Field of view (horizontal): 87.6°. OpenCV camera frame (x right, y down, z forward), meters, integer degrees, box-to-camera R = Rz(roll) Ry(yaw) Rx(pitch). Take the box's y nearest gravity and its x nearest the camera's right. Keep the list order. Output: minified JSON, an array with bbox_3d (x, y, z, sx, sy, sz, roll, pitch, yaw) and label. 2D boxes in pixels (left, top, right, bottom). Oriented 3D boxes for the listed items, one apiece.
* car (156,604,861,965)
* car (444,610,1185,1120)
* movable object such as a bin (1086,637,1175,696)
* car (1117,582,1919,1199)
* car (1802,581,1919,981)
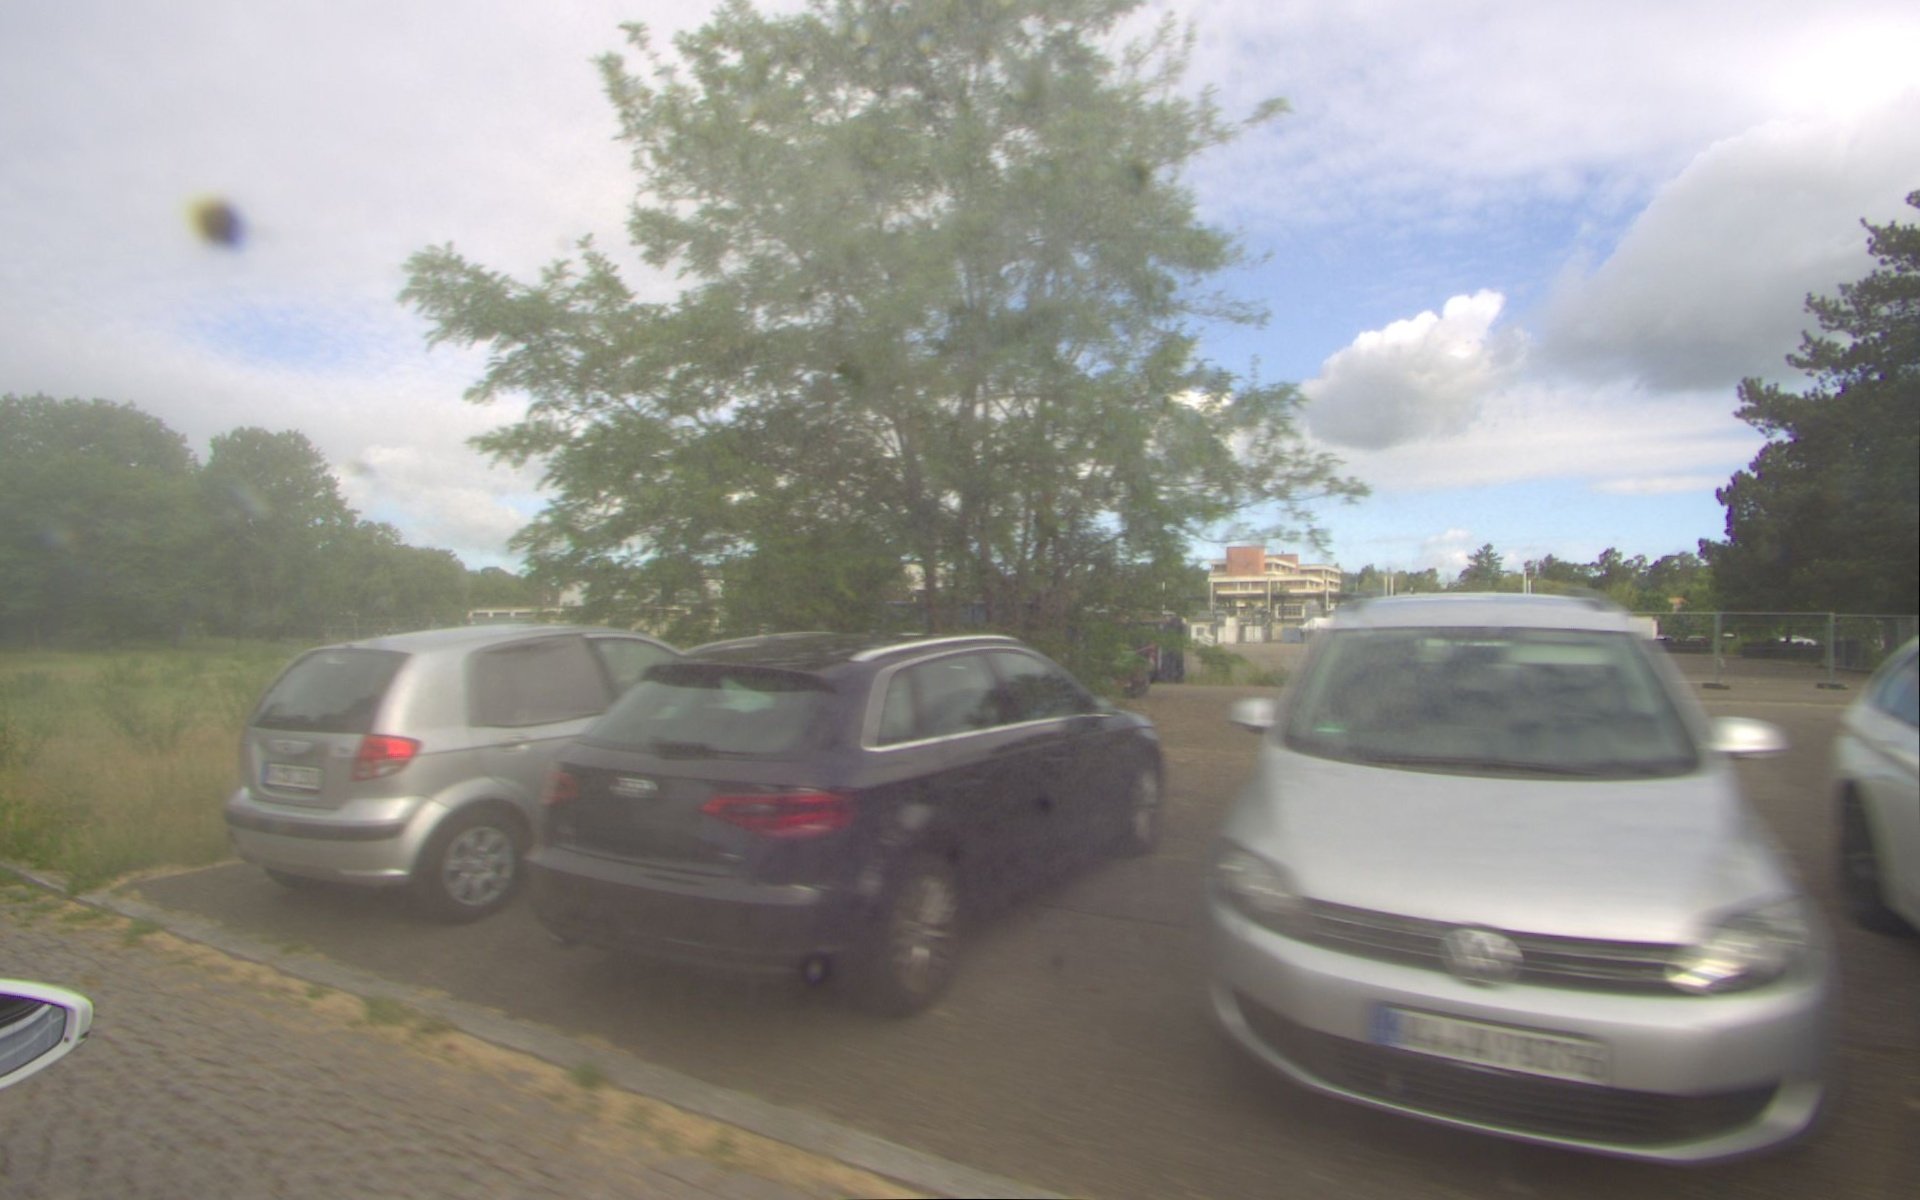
[{"bbox_3d":[-2.553,0.851,6.742,1.776,1.535,4.068,0,1,28],"label":"car"},{"bbox_3d":[-0.272,0.856,5.355,1.856,1.472,4.068,0,1,28],"label":"car"},{"bbox_3d":[3.191,1.186,18.465,0.840,1.001,2.681,0,-2,28],"label":"movable object such as a bin"},{"bbox_3d":[2.237,0.760,4.342,1.855,1.618,4.236,0,1,27],"label":"car"},{"bbox_3d":[4.420,0.736,3.094,1.876,1.587,4.487,0,1,28],"label":"car"}]
